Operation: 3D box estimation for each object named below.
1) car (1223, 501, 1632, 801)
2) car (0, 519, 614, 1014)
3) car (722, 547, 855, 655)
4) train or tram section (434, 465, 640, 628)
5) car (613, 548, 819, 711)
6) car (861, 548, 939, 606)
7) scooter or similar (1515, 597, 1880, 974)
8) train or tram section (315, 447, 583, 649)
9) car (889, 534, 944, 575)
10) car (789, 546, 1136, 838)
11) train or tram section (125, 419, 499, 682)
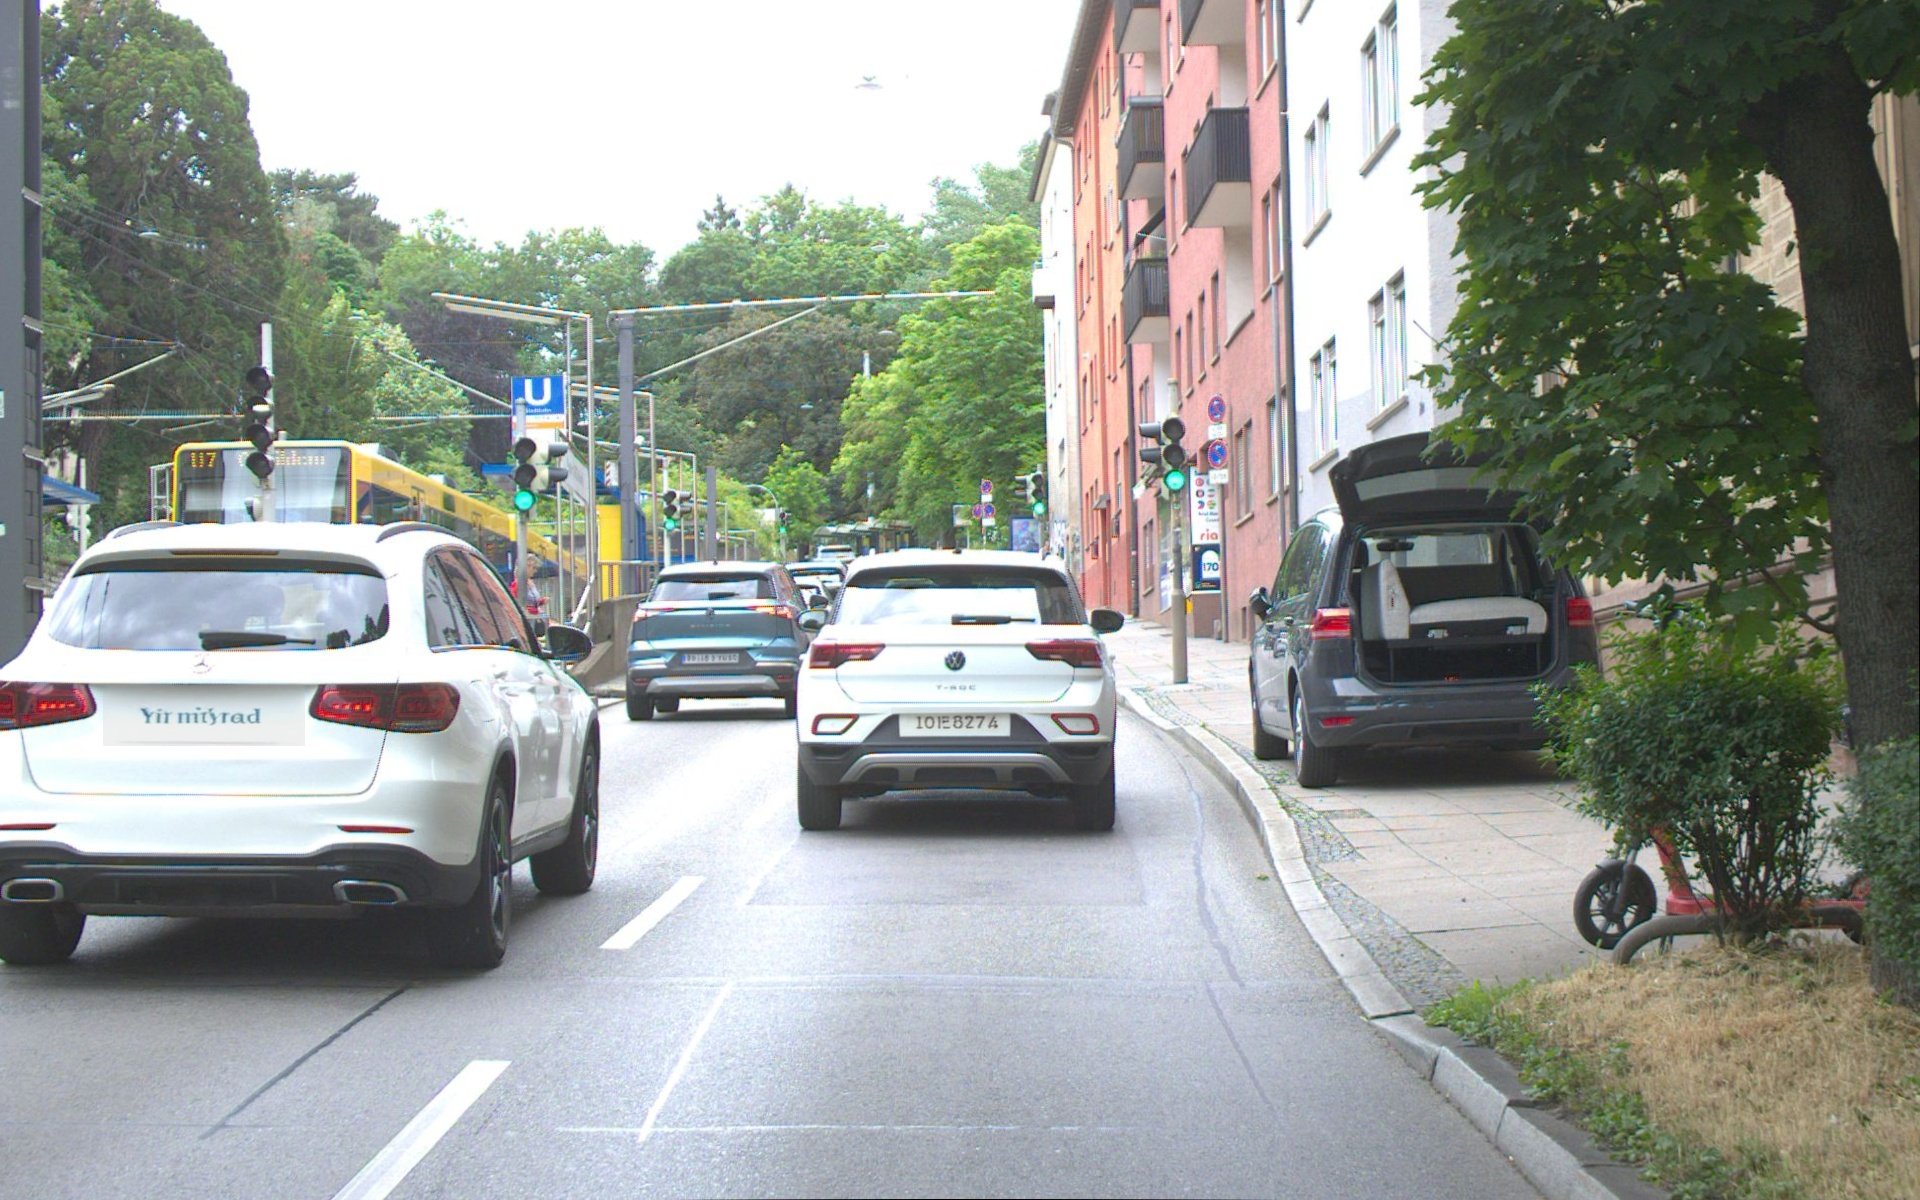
[{"bbox_3d":[2.775,0.253,21.319,1.835,1.596,4.194,-3,1,-1],"label":"car"},{"bbox_3d":[-2.584,0.525,13.957,1.835,1.661,4.671,0,1,1],"label":"car"},{"bbox_3d":[-2.543,-0.014,51.784,1.835,1.541,4.194,0,1,-1],"label":"car"},{"bbox_3d":[-9.395,-1.209,77.977,2.996,3.337,13.439,-1,1,0],"label":"train or tram section"},{"bbox_3d":[-2.412,0.252,34.873,1.835,1.541,4.194,0,1,-1],"label":"car"},{"bbox_3d":[-1.644,-0.646,93.940,2.068,1.541,4.194,0,1,-1],"label":"car"},{"bbox_3d":[2.281,0.572,10.686,1.037,1.115,0.331,-2,1,6],"label":"scooter or similar"},{"bbox_3d":[-9.315,-0.975,64.470,2.996,3.337,13.531,-1,1,0],"label":"train or tram section"},{"bbox_3d":[-1.664,-1.748,132.032,2.068,1.541,4.194,0,1,-1],"label":"car"},{"bbox_3d":[-0.061,0.457,20.379,1.835,1.541,4.194,0,1,-2],"label":"car"},{"bbox_3d":[-9.243,-0.737,50.995,2.996,3.337,13.439,-1,1,0],"label":"train or tram section"}]
